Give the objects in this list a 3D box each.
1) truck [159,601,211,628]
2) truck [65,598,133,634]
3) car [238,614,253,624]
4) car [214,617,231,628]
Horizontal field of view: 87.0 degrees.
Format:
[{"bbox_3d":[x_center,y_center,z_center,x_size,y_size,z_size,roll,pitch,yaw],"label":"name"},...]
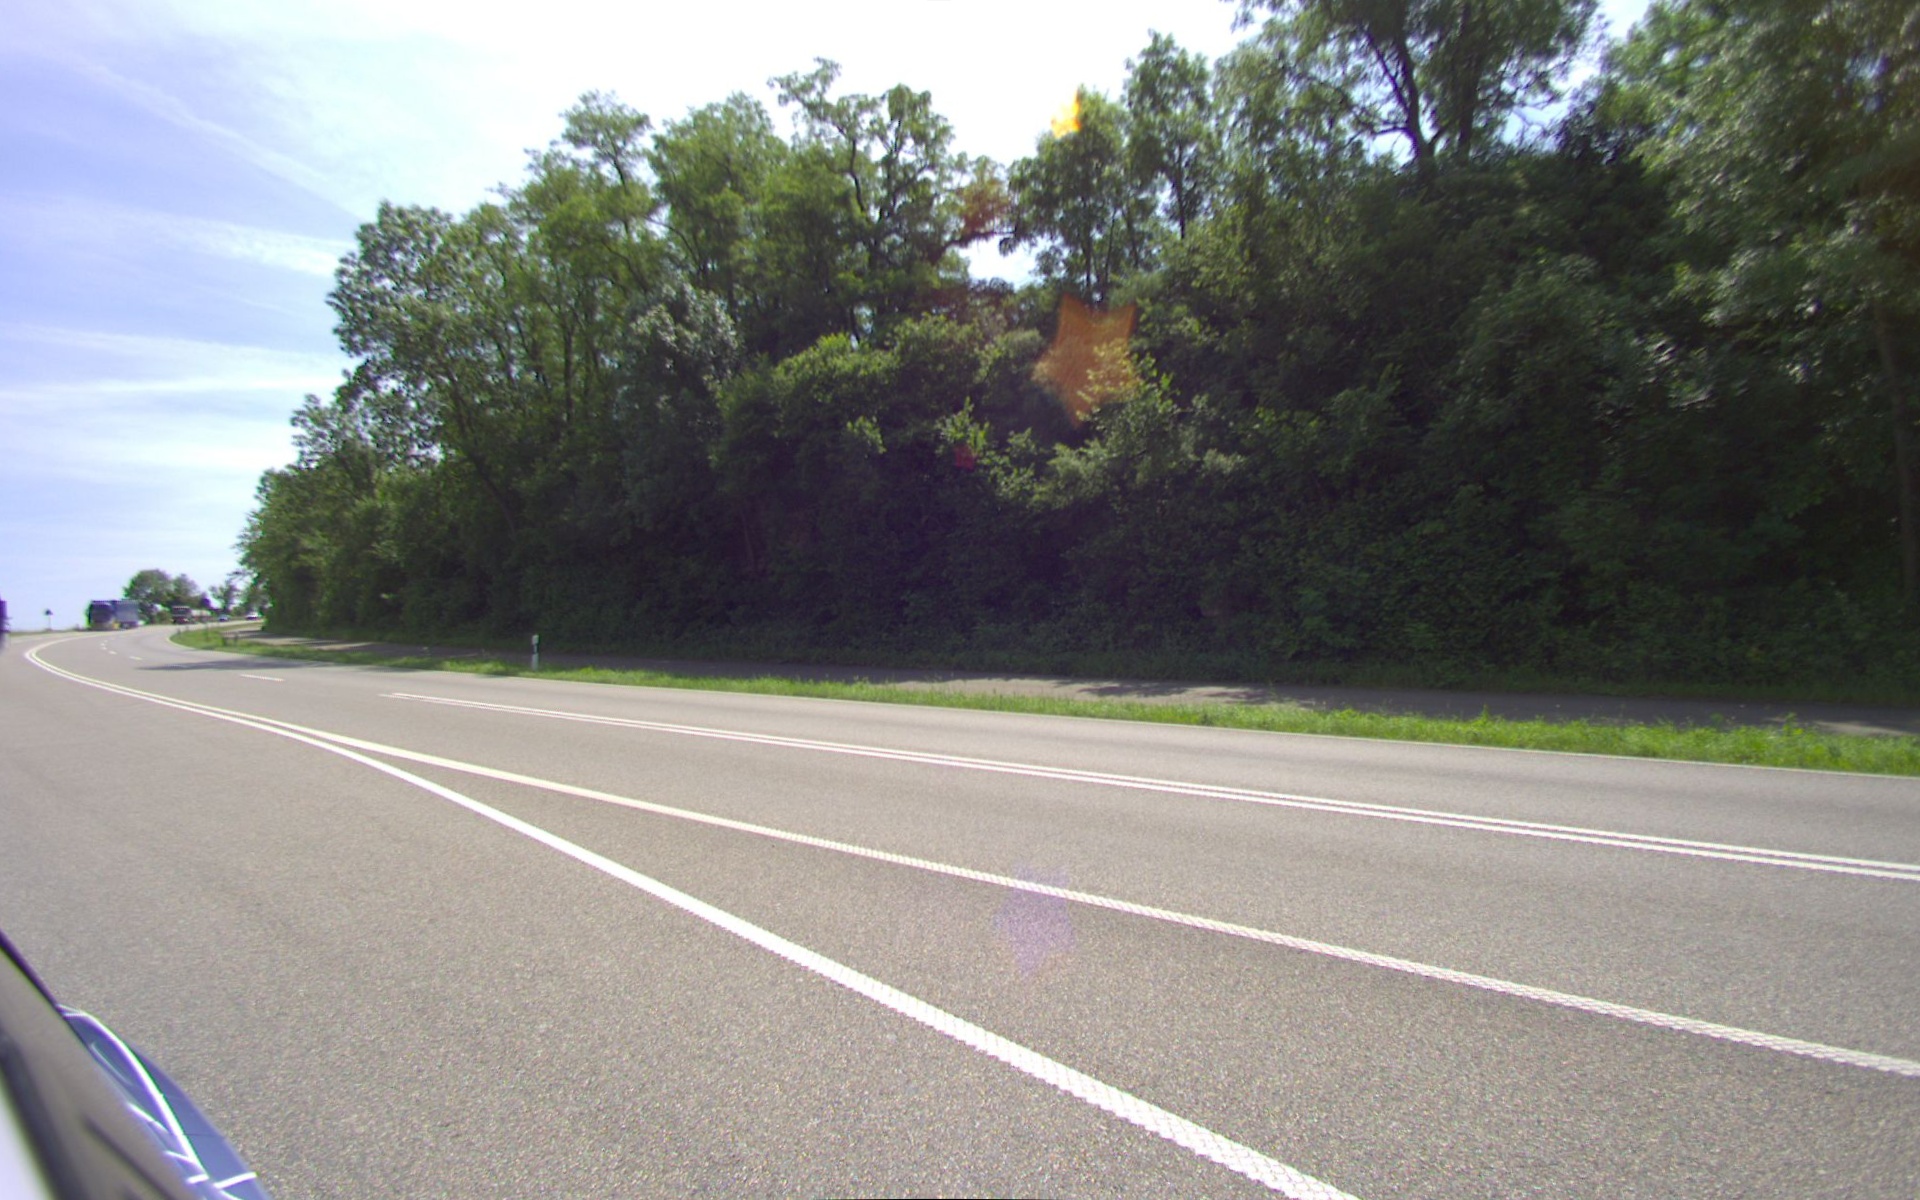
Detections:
[{"bbox_3d":[-135.614,2.501,177.343,3.920,4.493,14.387,-1,0,-24],"label":"truck"},{"bbox_3d":[-115.633,2.163,136.252,4.326,4.493,14.756,-1,0,-30],"label":"truck"},{"bbox_3d":[-152.010,3.943,215.417,1.826,2.029,3.901,-1,0,-24],"label":"car"},{"bbox_3d":[-145.073,4.461,199.029,1.886,2.029,4.189,-1,0,-25],"label":"car"}]
